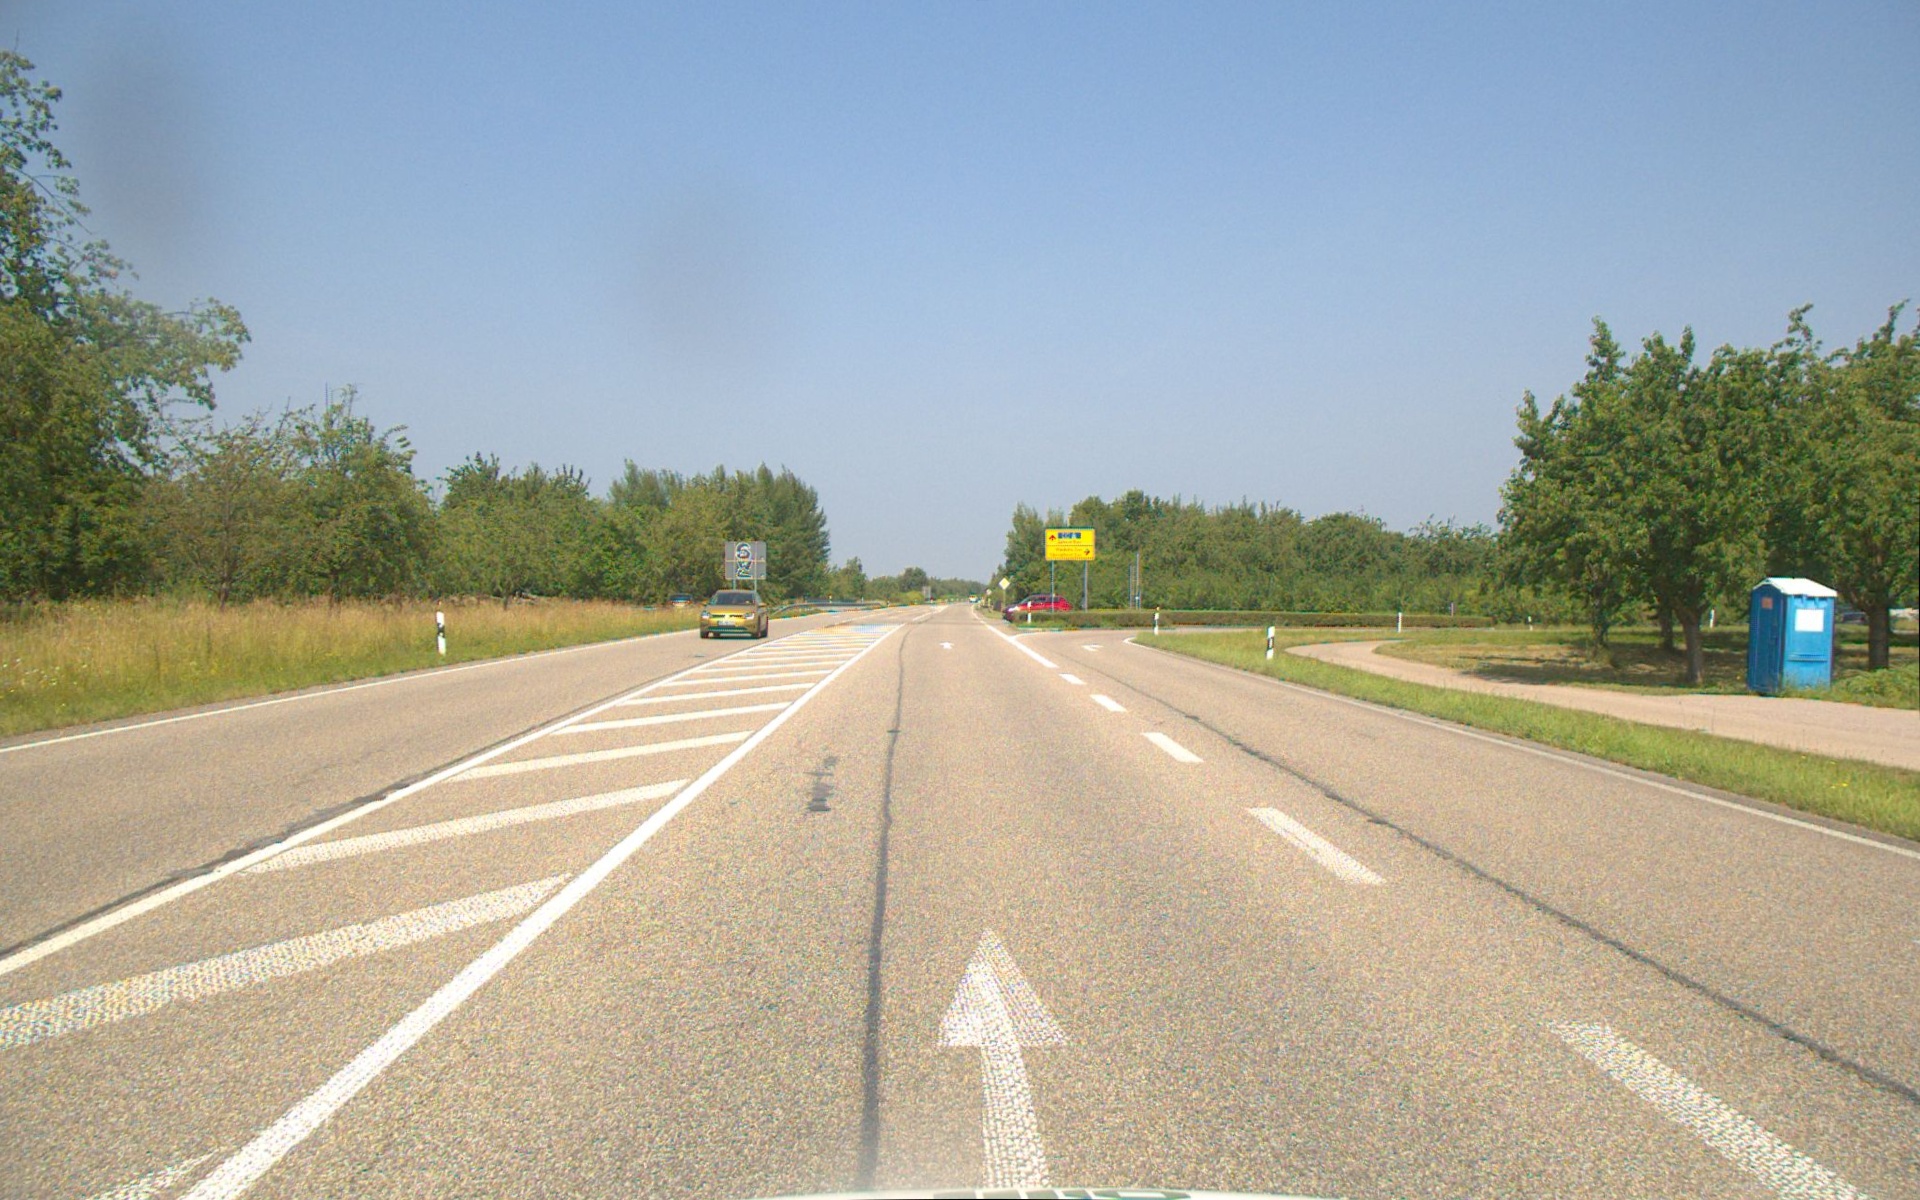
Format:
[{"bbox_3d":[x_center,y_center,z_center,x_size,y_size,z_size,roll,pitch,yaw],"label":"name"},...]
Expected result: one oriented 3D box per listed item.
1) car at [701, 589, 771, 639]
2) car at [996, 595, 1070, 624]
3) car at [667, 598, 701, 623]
[{"bbox_3d":[-6.810,0.405,50.500,1.663,1.441,3.824,0,0,-1],"label":"car"},{"bbox_3d":[3.961,0.512,89.736,3.682,1.519,1.663,1,0,-18],"label":"car"},{"bbox_3d":[-16.504,0.625,99.103,1.671,1.448,4.039,0,0,-5],"label":"car"}]
